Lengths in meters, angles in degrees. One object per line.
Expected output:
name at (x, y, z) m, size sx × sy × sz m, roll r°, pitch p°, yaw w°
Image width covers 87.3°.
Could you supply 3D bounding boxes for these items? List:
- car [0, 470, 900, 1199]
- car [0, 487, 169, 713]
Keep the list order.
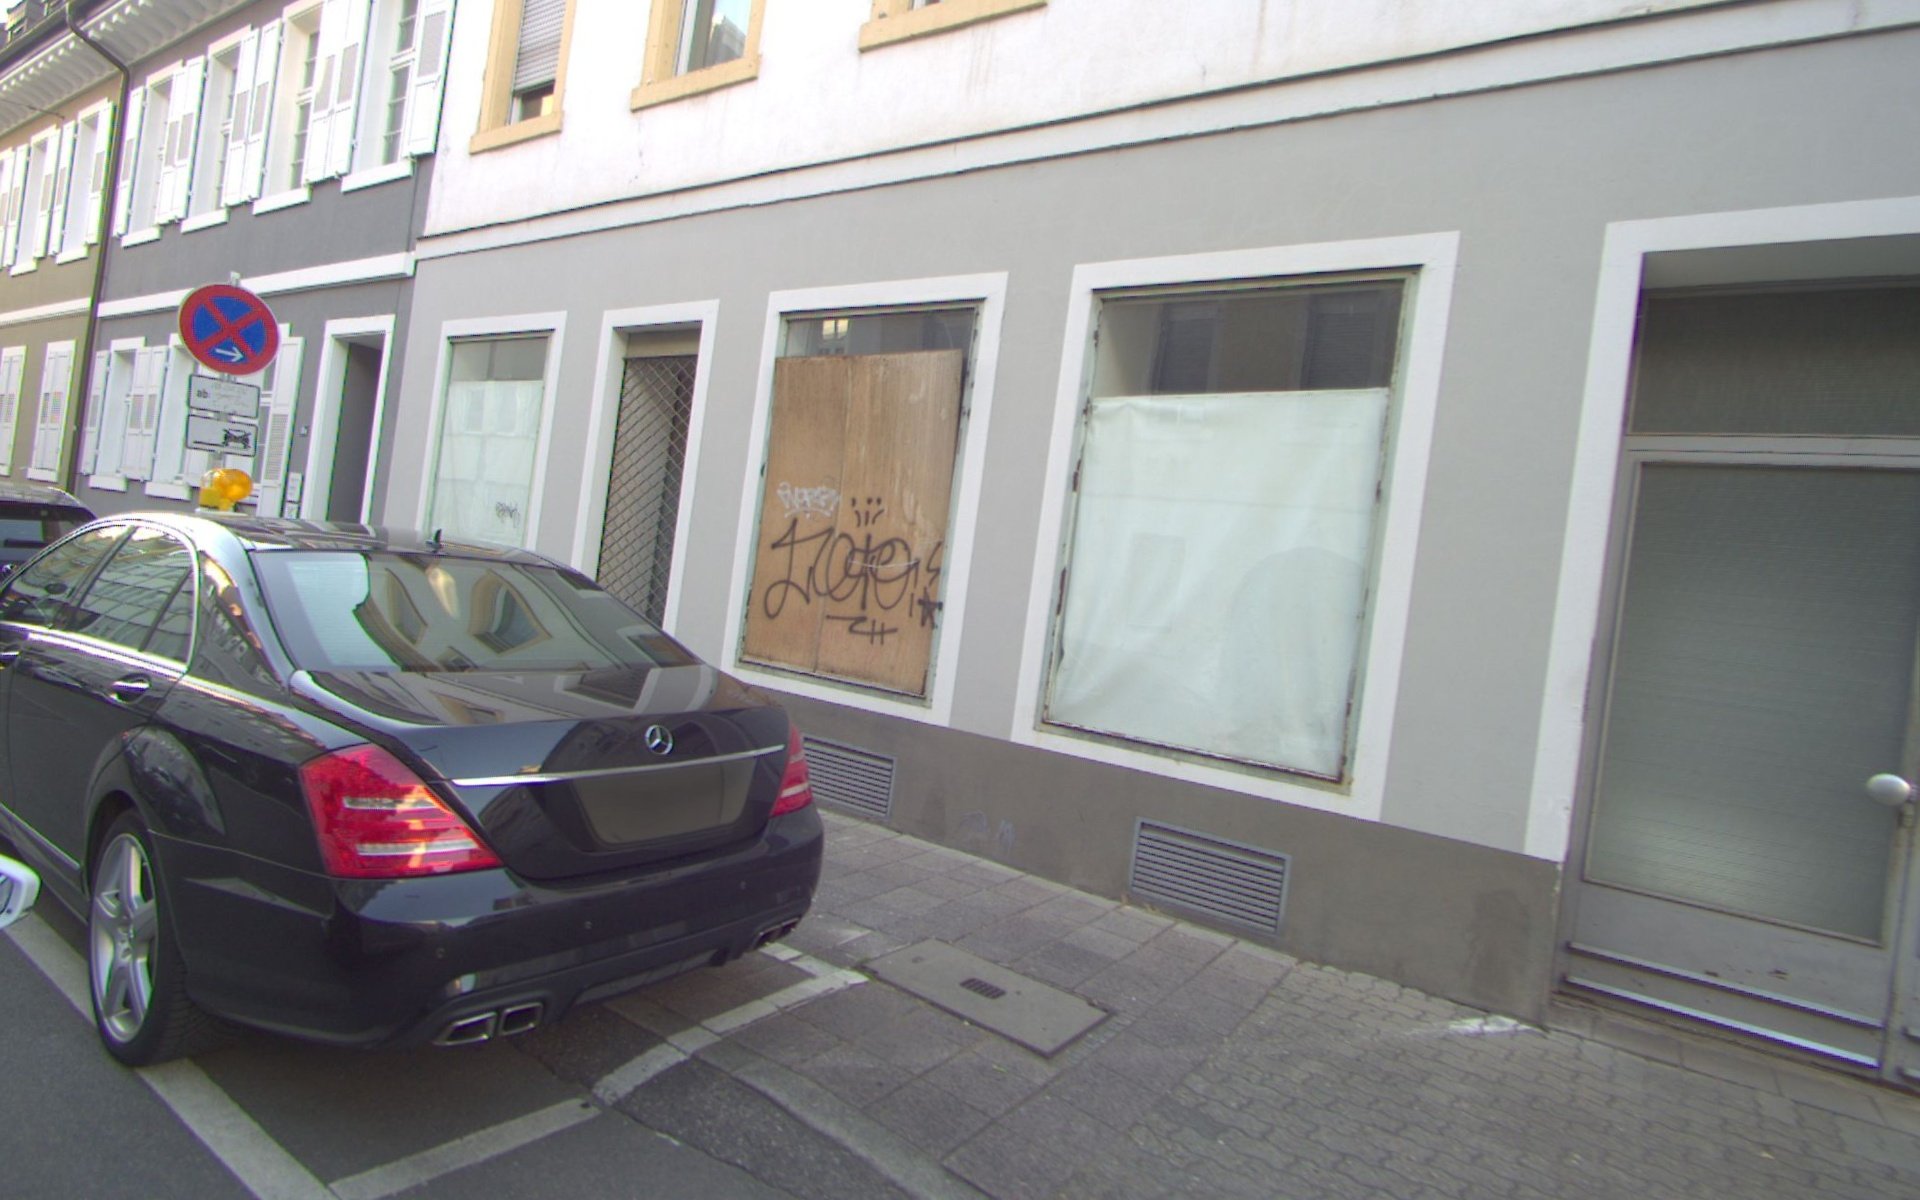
car at (-2.807, 0.364, 4.161) m, size 4.992 × 1.550 × 1.818 m, roll 7°, pitch 3°, yaw 36°
car at (-8.087, -0.208, 7.929) m, size 3.936 × 1.503 × 1.679 m, roll 7°, pitch -2°, yaw 34°
